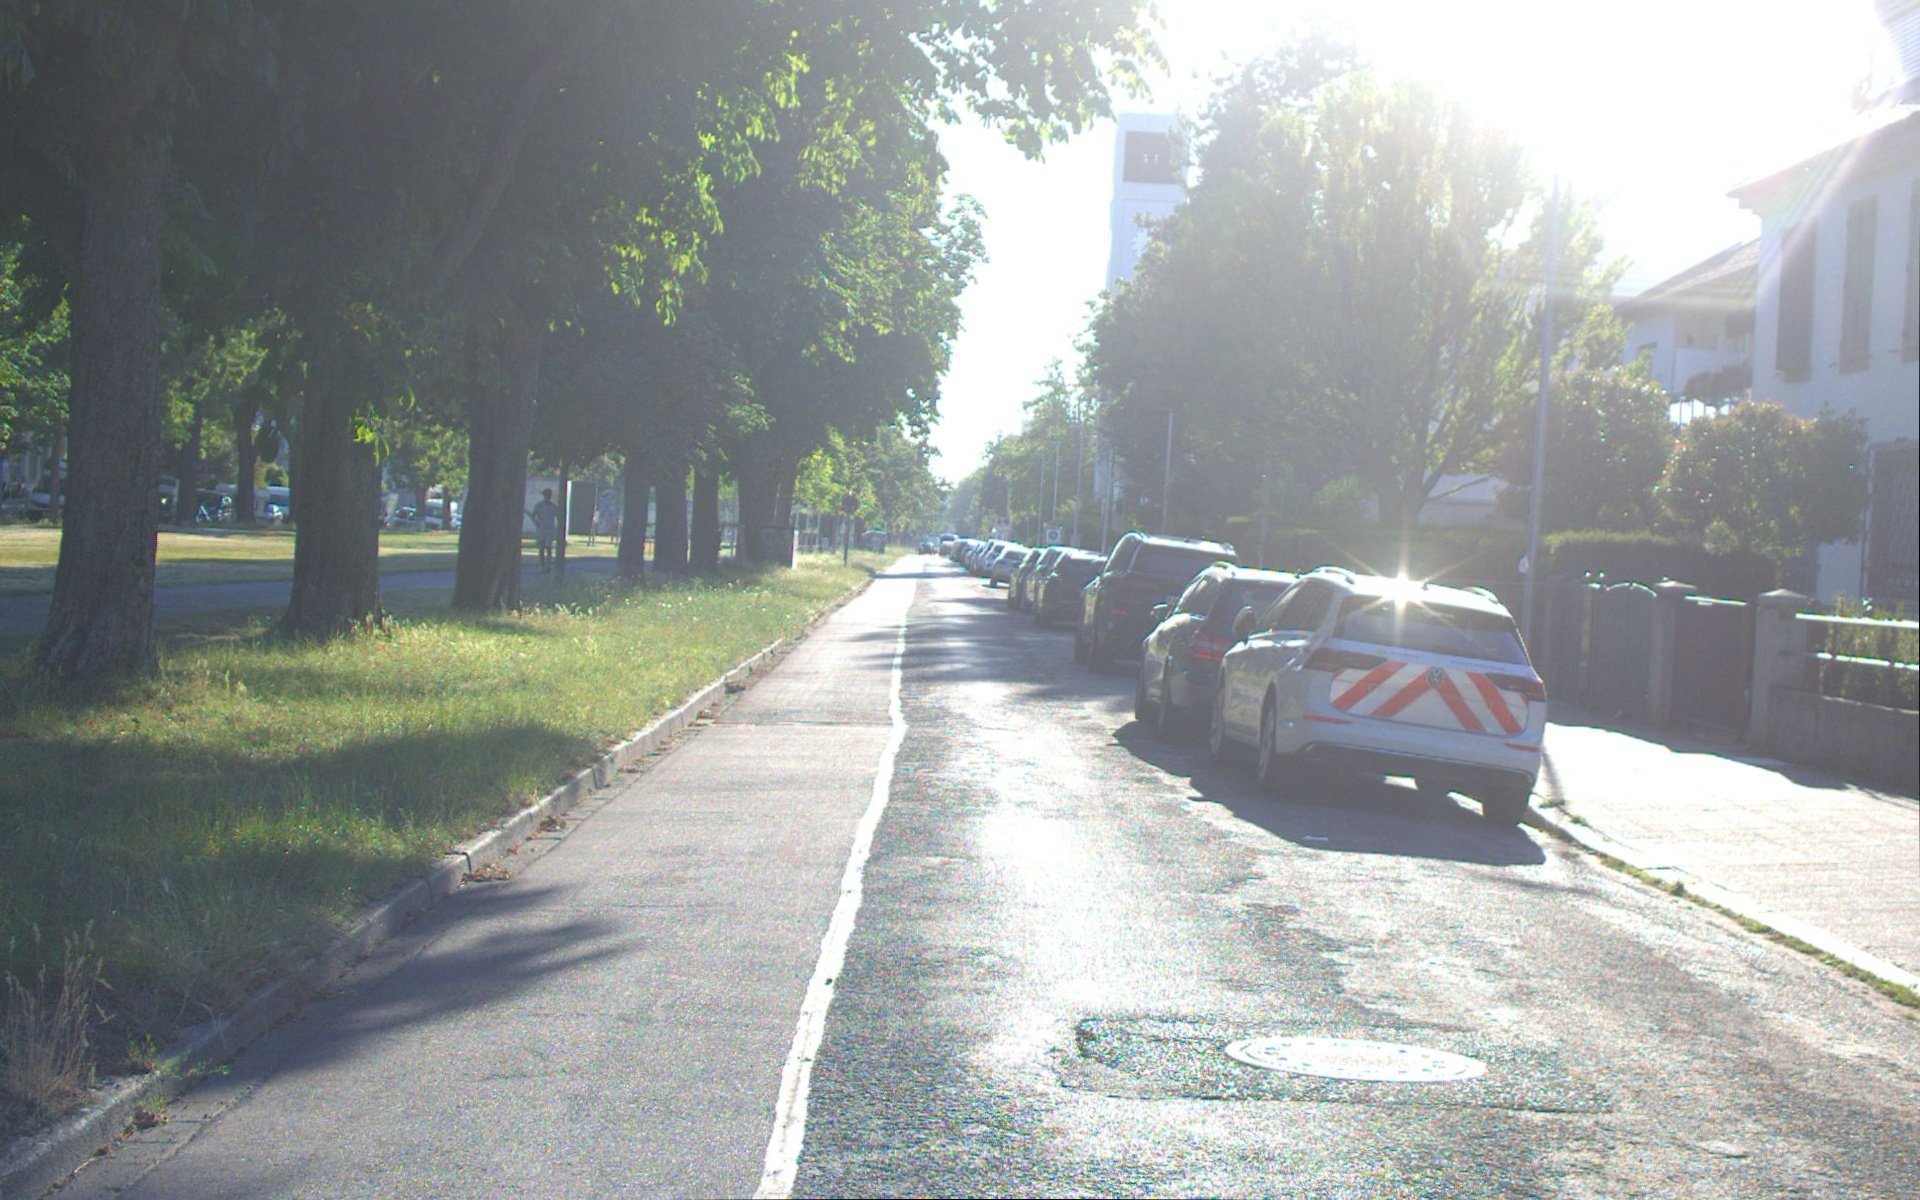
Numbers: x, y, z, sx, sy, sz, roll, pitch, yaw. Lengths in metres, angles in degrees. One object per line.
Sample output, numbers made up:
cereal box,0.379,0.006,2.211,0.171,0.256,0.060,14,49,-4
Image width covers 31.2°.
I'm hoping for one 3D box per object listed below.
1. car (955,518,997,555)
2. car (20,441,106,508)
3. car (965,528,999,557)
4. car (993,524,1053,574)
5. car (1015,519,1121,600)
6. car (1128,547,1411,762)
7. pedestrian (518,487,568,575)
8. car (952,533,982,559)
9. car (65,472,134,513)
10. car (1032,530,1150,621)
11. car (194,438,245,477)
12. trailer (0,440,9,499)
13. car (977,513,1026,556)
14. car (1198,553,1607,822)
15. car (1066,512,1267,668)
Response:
car,0.731,-2.972,159.603,1.758,1.599,4.359,3,1,-2
car,-41.323,-5.749,158.491,2.437,2.912,5.818,1,1,0
car,1.330,-3.466,206.347,1.993,1.624,4.000,3,1,1
car,2.108,-1.733,115.710,1.757,1.415,4.072,9,1,0
car,2.278,-0.890,73.419,1.691,1.478,3.930,7,1,-4
car,2.531,0.391,29.166,1.780,1.458,4.594,6,1,-1
pedestrian,-8.506,-1.414,70.199,0.724,1.752,0.993,3,2,6
car,0.520,-3.793,240.822,1.980,1.677,4.000,3,1,1
car,-35.594,-4.447,142.312,1.685,1.554,4.314,3,1,0
car,2.353,-0.475,62.806,1.793,1.487,4.675,4,1,-1
car,-42.245,-8.130,196.121,1.993,2.007,4.485,1,0,-1
trailer,-40.989,-5.464,142.014,1.993,2.419,4.724,3,1,0
car,1.667,-2.664,139.071,1.758,1.599,4.359,3,1,-2
car,2.887,0.509,23.497,1.993,1.459,4.550,5,1,-1
car,2.530,-0.182,43.204,1.993,1.731,4.864,3,1,-2
